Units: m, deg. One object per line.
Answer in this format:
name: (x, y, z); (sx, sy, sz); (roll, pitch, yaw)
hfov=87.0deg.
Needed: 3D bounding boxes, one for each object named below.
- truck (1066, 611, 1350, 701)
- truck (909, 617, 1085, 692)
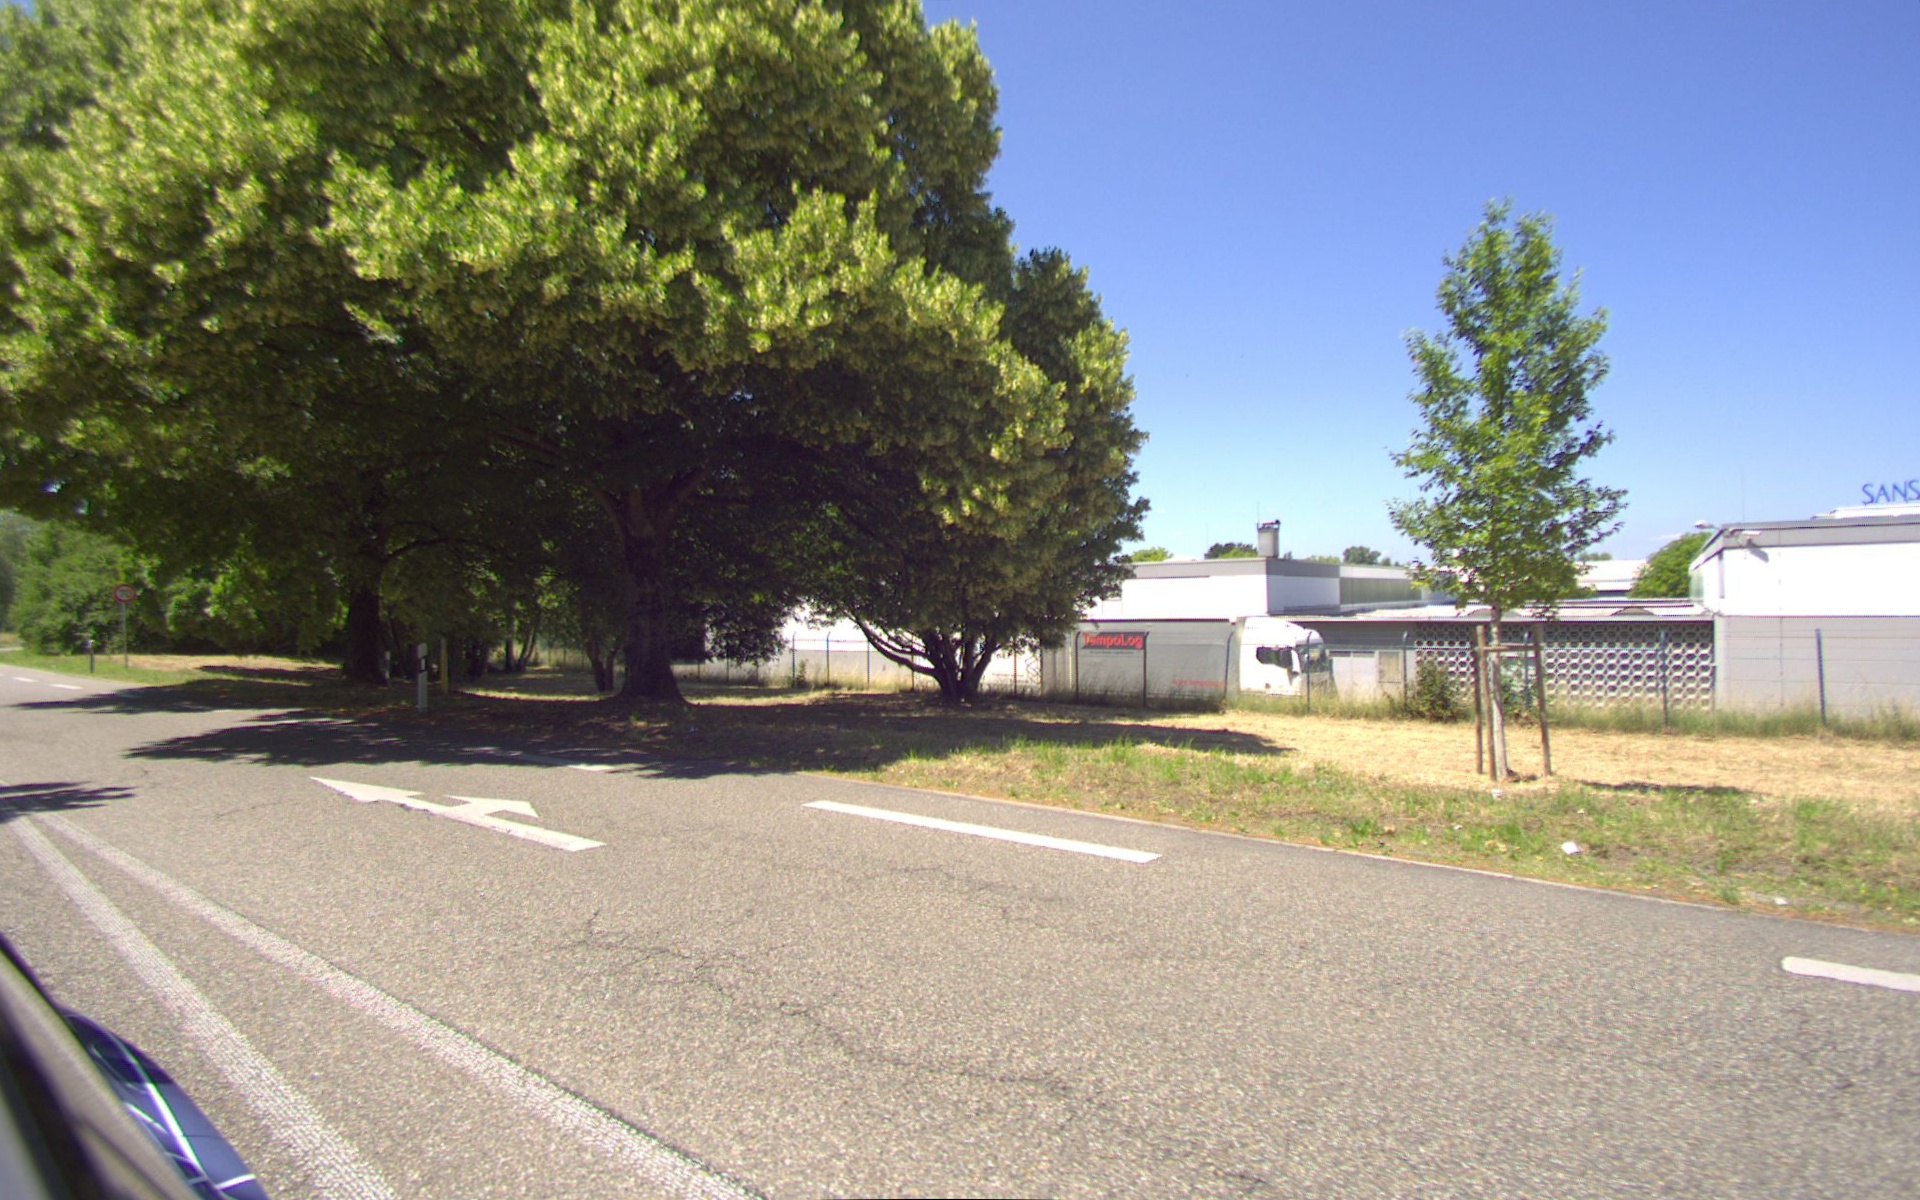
truck: (8.743, 1.954, 37.201); (10.161, 2.818, 2.655); (-2, 0, 44)
truck: (1.458, 2.297, 44.394); (8.166, 2.950, 2.406); (-2, 0, 44)
